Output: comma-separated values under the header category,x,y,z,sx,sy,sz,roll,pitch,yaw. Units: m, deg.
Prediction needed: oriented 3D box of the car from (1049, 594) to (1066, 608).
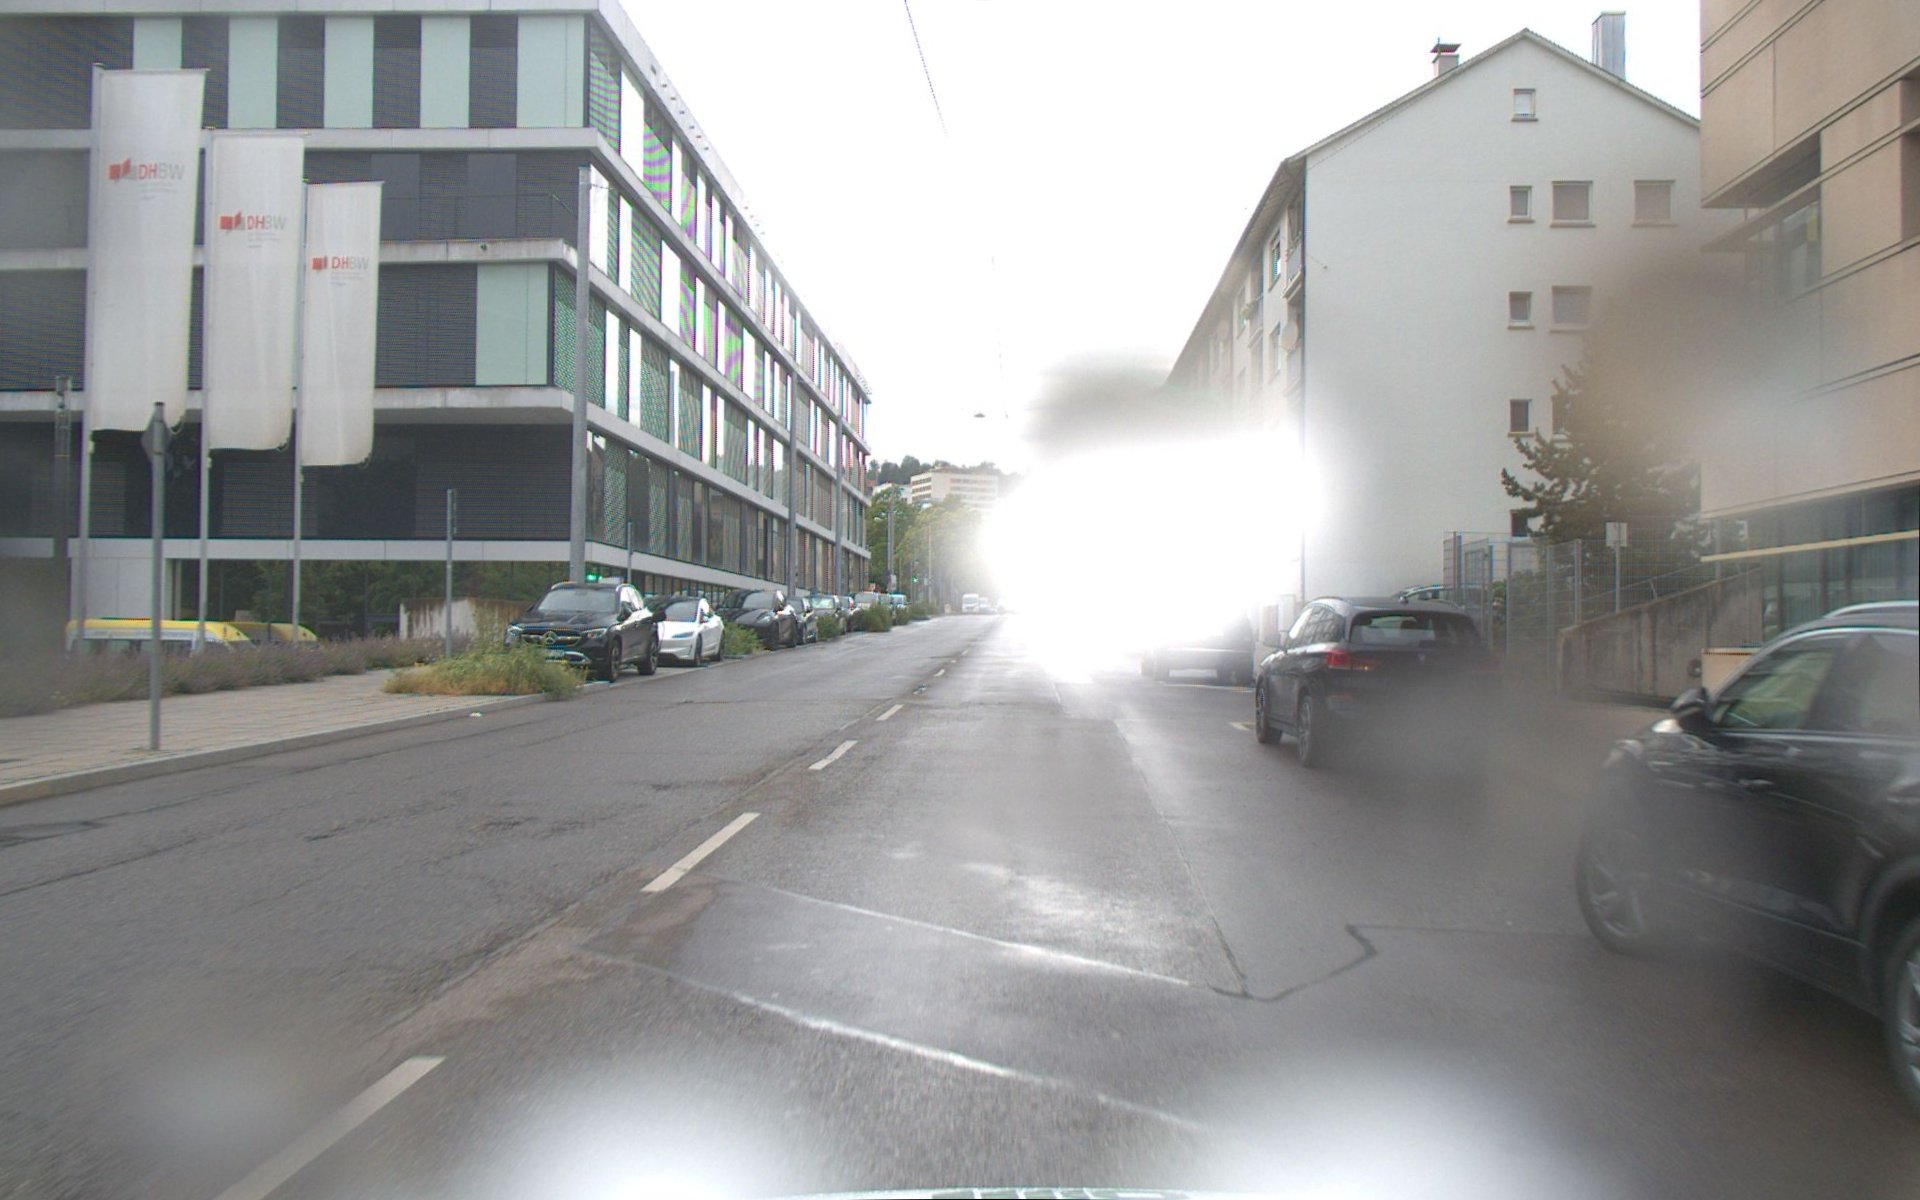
category,x,y,z,sx,sy,sz,roll,pitch,yaw
car,11.484,0.101,195.049,1.827,1.632,4.192,2,0,5

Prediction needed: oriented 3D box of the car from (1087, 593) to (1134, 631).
category,x,y,z,sx,sy,sz,roll,pitch,yaw
car,6.188,0.477,68.224,1.671,1.479,3.986,2,0,2

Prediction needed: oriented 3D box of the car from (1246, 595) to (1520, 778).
category,x,y,z,sx,sy,sz,roll,pitch,yaw
car,4.114,0.760,16.805,1.707,1.560,4.320,2,0,1

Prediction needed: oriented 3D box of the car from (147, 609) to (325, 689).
category,x,y,z,sx,sy,sz,roll,pitch,yaw
car,-20.312,1.362,46.482,4.252,2.068,1.599,2,0,2

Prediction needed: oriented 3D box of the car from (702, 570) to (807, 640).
category,x,y,z,sx,sy,sz,roll,pitch,yaw
car,-5.677,0.129,46.360,1.921,1.780,4.944,2,0,5

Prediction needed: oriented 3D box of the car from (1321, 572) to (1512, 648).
category,x,y,z,sx,sy,sz,roll,pitch,yaw
car,11.598,0.251,42.219,4.346,1.742,1.905,-2,0,2

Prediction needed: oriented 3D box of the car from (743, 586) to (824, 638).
category,x,y,z,sx,sy,sz,roll,pitch,yaw
car,-5.523,0.356,52.311,1.832,1.498,4.742,2,0,2

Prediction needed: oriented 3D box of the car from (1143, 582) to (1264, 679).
category,x,y,z,sx,sy,sz,roll,pitch,yaw
car,4.887,0.571,33.835,1.895,1.780,4.798,2,0,2

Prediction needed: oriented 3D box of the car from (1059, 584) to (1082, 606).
category,x,y,z,sx,sy,sz,roll,pitch,yaw
car,9.396,-0.434,140.374,1.827,1.801,4.192,2,0,5

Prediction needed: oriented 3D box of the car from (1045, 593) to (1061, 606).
category,x,y,z,sx,sy,sz,roll,pitch,yaw
car,11.811,-0.059,210.414,1.827,1.632,4.192,2,0,5

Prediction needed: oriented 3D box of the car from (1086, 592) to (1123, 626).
category,x,y,z,sx,sy,sz,roll,pitch,yaw
car,7.151,0.423,82.114,1.601,1.598,3.712,2,0,2

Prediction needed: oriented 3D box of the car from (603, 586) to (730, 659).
category,x,y,z,sx,sy,sz,roll,pitch,yaw
car,-6.344,0.453,36.230,1.783,1.443,4.404,2,0,2

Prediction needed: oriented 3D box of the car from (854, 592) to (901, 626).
category,x,y,z,sx,sy,sz,roll,pitch,yaw
car,-4.128,0.447,83.664,1.763,1.632,4.236,2,0,5

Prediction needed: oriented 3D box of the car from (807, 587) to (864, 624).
category,x,y,z,sx,sy,sz,roll,pitch,yaw
car,-5.080,0.198,68.004,1.799,1.420,4.394,2,0,2

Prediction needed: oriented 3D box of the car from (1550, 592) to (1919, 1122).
category,x,y,z,sx,sy,sz,roll,pitch,yaw
car,3.700,0.796,6.048,1.690,1.538,4.058,3,0,2

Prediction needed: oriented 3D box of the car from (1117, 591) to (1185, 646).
category,x,y,z,sx,sy,sz,roll,pitch,yaw
car,5.553,0.520,48.443,1.638,1.485,3.765,1,1,2

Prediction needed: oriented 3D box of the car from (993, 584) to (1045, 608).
category,x,y,z,sx,sy,sz,roll,pitch,yaw
car,4.728,-0.311,133.275,4.130,1.698,1.630,-2,-5,42

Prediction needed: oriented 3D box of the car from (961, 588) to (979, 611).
category,x,y,z,sx,sy,sz,roll,pitch,yaw
car,1.188,-0.087,196.233,2.062,2.591,4.751,2,0,0

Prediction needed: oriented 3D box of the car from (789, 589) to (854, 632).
category,x,y,z,sx,sy,sz,roll,pitch,yaw
car,-5.110,0.372,61.652,1.824,1.515,4.348,2,0,2

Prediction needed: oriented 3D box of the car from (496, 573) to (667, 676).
category,x,y,z,sx,sy,sz,roll,pitch,yaw
car,-6.646,0.393,29.531,1.811,1.646,4.492,2,0,2

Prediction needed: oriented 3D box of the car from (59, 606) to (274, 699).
category,x,y,z,sx,sy,sz,roll,pitch,yaw
car,-20.295,1.324,42.459,4.499,2.212,1.930,2,0,-4

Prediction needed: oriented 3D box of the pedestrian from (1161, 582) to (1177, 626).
category,x,y,z,sx,sy,sz,roll,pitch,yaw
pedestrian,9.194,0.190,72.624,0.625,1.903,0.539,2,0,4

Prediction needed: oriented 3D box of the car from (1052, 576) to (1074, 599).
category,x,y,z,sx,sy,sz,roll,pitch,yaw
car,9.300,-1.094,149.534,1.827,2.007,4.192,2,0,5

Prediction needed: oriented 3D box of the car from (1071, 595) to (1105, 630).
category,x,y,z,sx,sy,sz,roll,pitch,yaw
car,6.877,0.648,88.910,1.620,1.768,4.181,1,1,2
